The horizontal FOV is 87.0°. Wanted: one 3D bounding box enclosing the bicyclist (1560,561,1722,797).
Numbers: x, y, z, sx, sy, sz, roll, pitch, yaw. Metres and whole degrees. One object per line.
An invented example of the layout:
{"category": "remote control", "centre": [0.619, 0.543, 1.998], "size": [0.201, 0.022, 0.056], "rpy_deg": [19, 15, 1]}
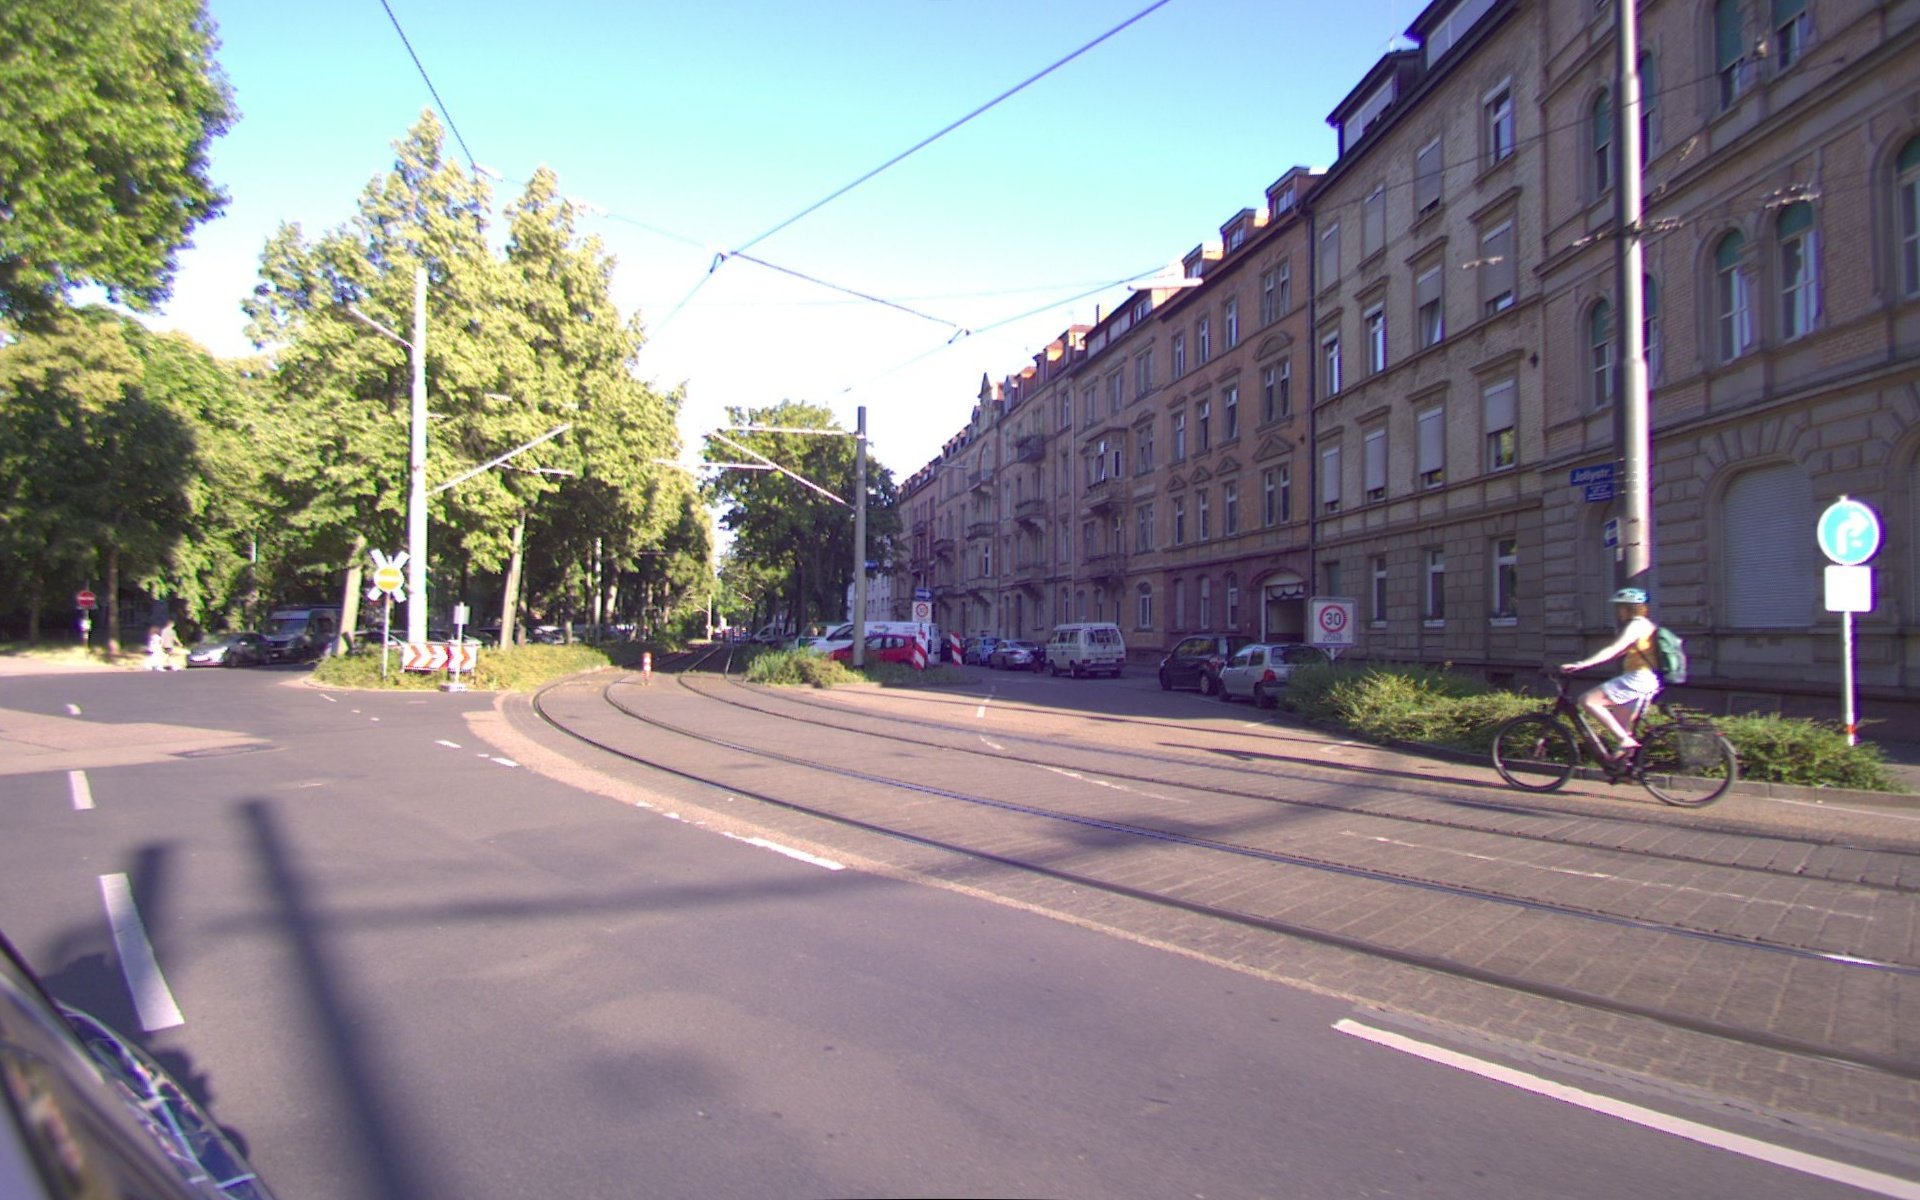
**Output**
{"category": "bicyclist", "centre": [5.948, 0.647, 8.925], "size": [1.109, 1.905, 1.021], "rpy_deg": [1, -2, 31]}

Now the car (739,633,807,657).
{"category": "car", "centre": [-11.293, 2.716, 61.116], "size": [3.703, 1.391, 1.699], "rpy_deg": [0, -2, 15]}

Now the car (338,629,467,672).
{"category": "car", "centre": [-20.848, 1.874, 37.928], "size": [3.935, 1.375, 1.772], "rpy_deg": [-3, -2, 5]}

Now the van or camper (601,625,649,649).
{"category": "van or camper", "centre": [-37.884, 4.176, 114.542], "size": [4.841, 2.489, 2.035], "rpy_deg": [-3, -2, 15]}

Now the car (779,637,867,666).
{"category": "car", "centre": [-7.008, 2.614, 51.839], "size": [4.256, 1.391, 1.583], "rpy_deg": [0, -2, 20]}

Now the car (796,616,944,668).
{"category": "car", "centre": [-3.212, 1.520, 36.692], "size": [5.004, 1.778, 2.078], "rpy_deg": [0, -2, 11]}

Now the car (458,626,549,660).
{"category": "car", "centre": [-24.859, 2.325, 55.146], "size": [4.321, 1.639, 1.930], "rpy_deg": [-3, -2, 17]}

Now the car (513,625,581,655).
{"category": "car", "centre": [-27.311, 2.667, 66.877], "size": [4.138, 1.795, 1.867], "rpy_deg": [-3, -2, 26]}

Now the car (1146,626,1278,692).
{"category": "car", "centre": [6.734, 1.582, 27.486], "size": [1.826, 1.575, 3.881], "rpy_deg": [-2, -3, -14]}

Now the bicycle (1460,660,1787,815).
{"category": "bicycle", "centre": [5.785, 1.145, 9.013], "size": [2.316, 1.165, 0.875], "rpy_deg": [-1, -2, 32]}

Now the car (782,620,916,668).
{"category": "car", "centre": [-4.345, 1.711, 39.827], "size": [4.794, 1.778, 2.074], "rpy_deg": [0, -2, 17]}

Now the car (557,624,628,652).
{"category": "car", "centre": [-30.773, 3.179, 84.746], "size": [5.470, 2.153, 2.068], "rpy_deg": [-3, -2, 19]}

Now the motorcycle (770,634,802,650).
{"category": "motorcycle", "centre": [-10.931, 2.650, 63.610], "size": [1.707, 0.962, 1.017], "rpy_deg": [0, -2, 9]}

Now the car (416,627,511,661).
{"category": "car", "centre": [-24.043, 2.140, 49.029], "size": [3.835, 1.450, 1.823], "rpy_deg": [-3, -2, 14]}

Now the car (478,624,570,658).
{"category": "car", "centre": [-26.155, 2.462, 60.756], "size": [4.959, 1.795, 1.977], "rpy_deg": [-3, -2, 17]}

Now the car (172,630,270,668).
{"category": "car", "centre": [-30.605, 2.014, 42.027], "size": [1.659, 1.457, 3.878], "rpy_deg": [-2, -2, -8]}

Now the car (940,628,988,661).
{"category": "car", "centre": [0.190, 2.492, 57.136], "size": [1.769, 1.789, 4.010], "rpy_deg": [1, -2, -14]}

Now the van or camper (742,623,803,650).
{"category": "van or camper", "centre": [-18.503, 3.623, 99.868], "size": [5.620, 2.487, 1.992], "rpy_deg": [1, -3, 13]}

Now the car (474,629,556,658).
{"category": "car", "centre": [-25.484, 2.492, 57.973], "size": [4.125, 1.470, 1.761], "rpy_deg": [-3, -2, 17]}

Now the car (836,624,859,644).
{"category": "car", "centre": [-12.025, 3.623, 108.283], "size": [1.966, 2.029, 4.010], "rpy_deg": [1, -2, -14]}

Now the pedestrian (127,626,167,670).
{"category": "pedestrian", "centre": [-30.092, 1.781, 37.467], "size": [0.802, 1.620, 0.717], "rpy_deg": [1, -5, -6]}

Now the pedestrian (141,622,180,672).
{"category": "pedestrian", "centre": [-28.932, 1.686, 36.623], "size": [0.802, 1.795, 0.717], "rpy_deg": [1, -2, -6]}

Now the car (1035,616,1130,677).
{"category": "car", "centre": [4.540, 1.765, 38.325], "size": [1.826, 2.079, 5.013], "rpy_deg": [-2, -3, -14]}

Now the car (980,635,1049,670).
{"category": "car", "centre": [2.455, 2.386, 46.736], "size": [1.826, 1.553, 4.784], "rpy_deg": [1, -2, -14]}

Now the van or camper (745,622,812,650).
{"category": "van or camper", "centre": [-16.394, 3.281, 91.359], "size": [5.502, 2.389, 2.295], "rpy_deg": [1, -3, 16]}

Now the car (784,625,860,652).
{"category": "car", "centre": [-7.481, 2.072, 54.984], "size": [3.702, 1.391, 1.719], "rpy_deg": [0, -2, 14]}

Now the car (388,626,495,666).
{"category": "car", "centre": [-22.190, 1.966, 43.321], "size": [3.849, 1.505, 1.823], "rpy_deg": [-3, -2, 16]}

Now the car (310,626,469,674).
{"category": "car", "centre": [-18.314, 1.588, 32.585], "size": [4.241, 1.440, 1.771], "rpy_deg": [-1, -1, 6]}

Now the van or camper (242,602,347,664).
{"category": "van or camper", "centre": [-31.652, 1.577, 48.360], "size": [2.057, 2.783, 5.857], "rpy_deg": [0, -2, -11]}

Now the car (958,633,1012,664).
{"category": "car", "centre": [1.246, 2.517, 52.886], "size": [1.826, 1.530, 4.070], "rpy_deg": [1, -2, -14]}

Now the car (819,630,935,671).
{"category": "car", "centre": [-2.780, 1.695, 34.302], "size": [3.595, 1.339, 1.710], "rpy_deg": [0, -2, 12]}

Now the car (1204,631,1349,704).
{"category": "car", "centre": [7.056, 1.492, 22.944], "size": [1.828, 1.440, 3.499], "rpy_deg": [-2, -2, -6]}
